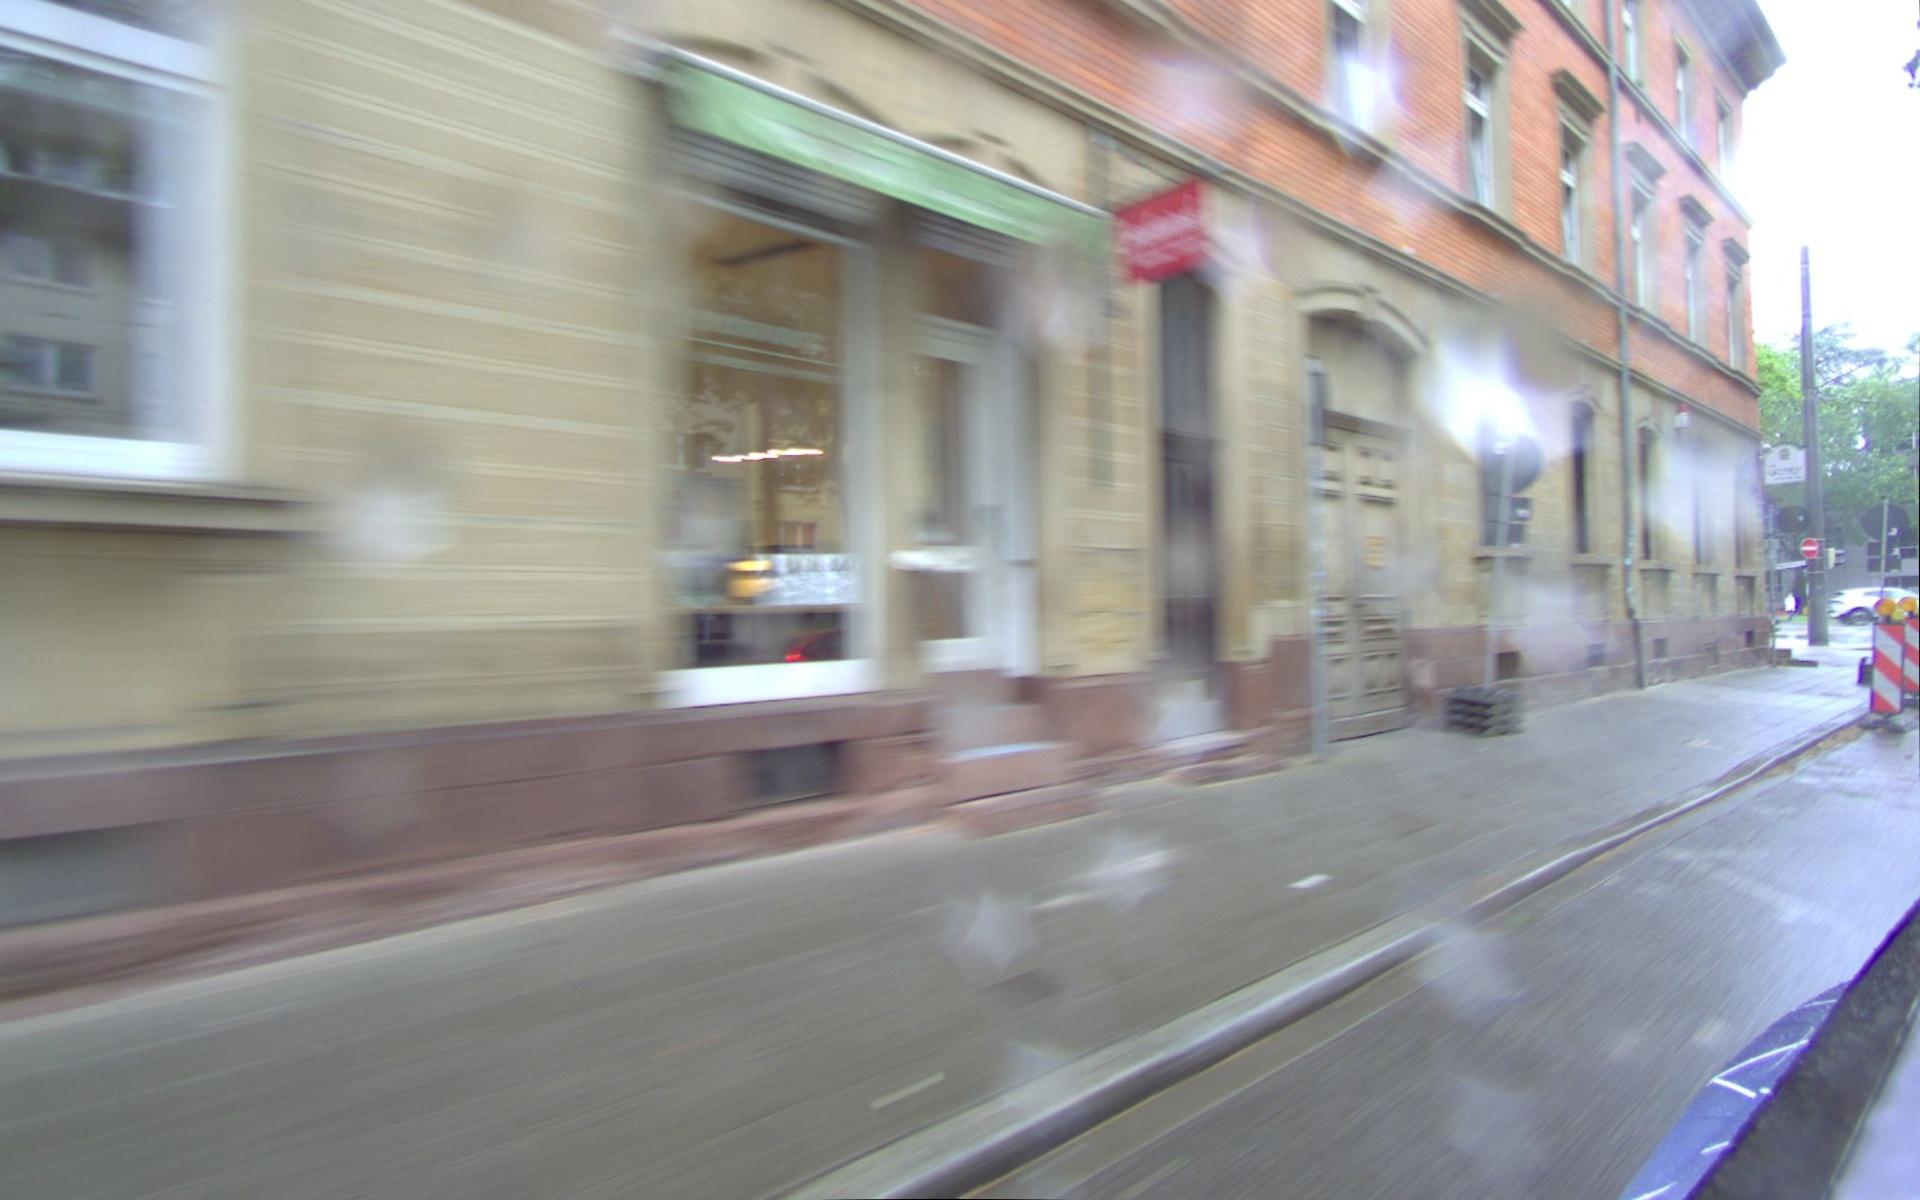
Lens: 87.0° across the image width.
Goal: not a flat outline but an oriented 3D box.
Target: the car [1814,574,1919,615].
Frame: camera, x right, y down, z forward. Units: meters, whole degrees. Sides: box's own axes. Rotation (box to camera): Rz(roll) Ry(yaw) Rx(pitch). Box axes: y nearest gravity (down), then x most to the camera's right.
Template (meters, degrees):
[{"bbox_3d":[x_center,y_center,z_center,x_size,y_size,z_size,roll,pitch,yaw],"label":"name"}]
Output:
[{"bbox_3d":[40.704,-0.259,44.568,4.525,1.681,1.765,-2,0,35],"label":"car"}]
